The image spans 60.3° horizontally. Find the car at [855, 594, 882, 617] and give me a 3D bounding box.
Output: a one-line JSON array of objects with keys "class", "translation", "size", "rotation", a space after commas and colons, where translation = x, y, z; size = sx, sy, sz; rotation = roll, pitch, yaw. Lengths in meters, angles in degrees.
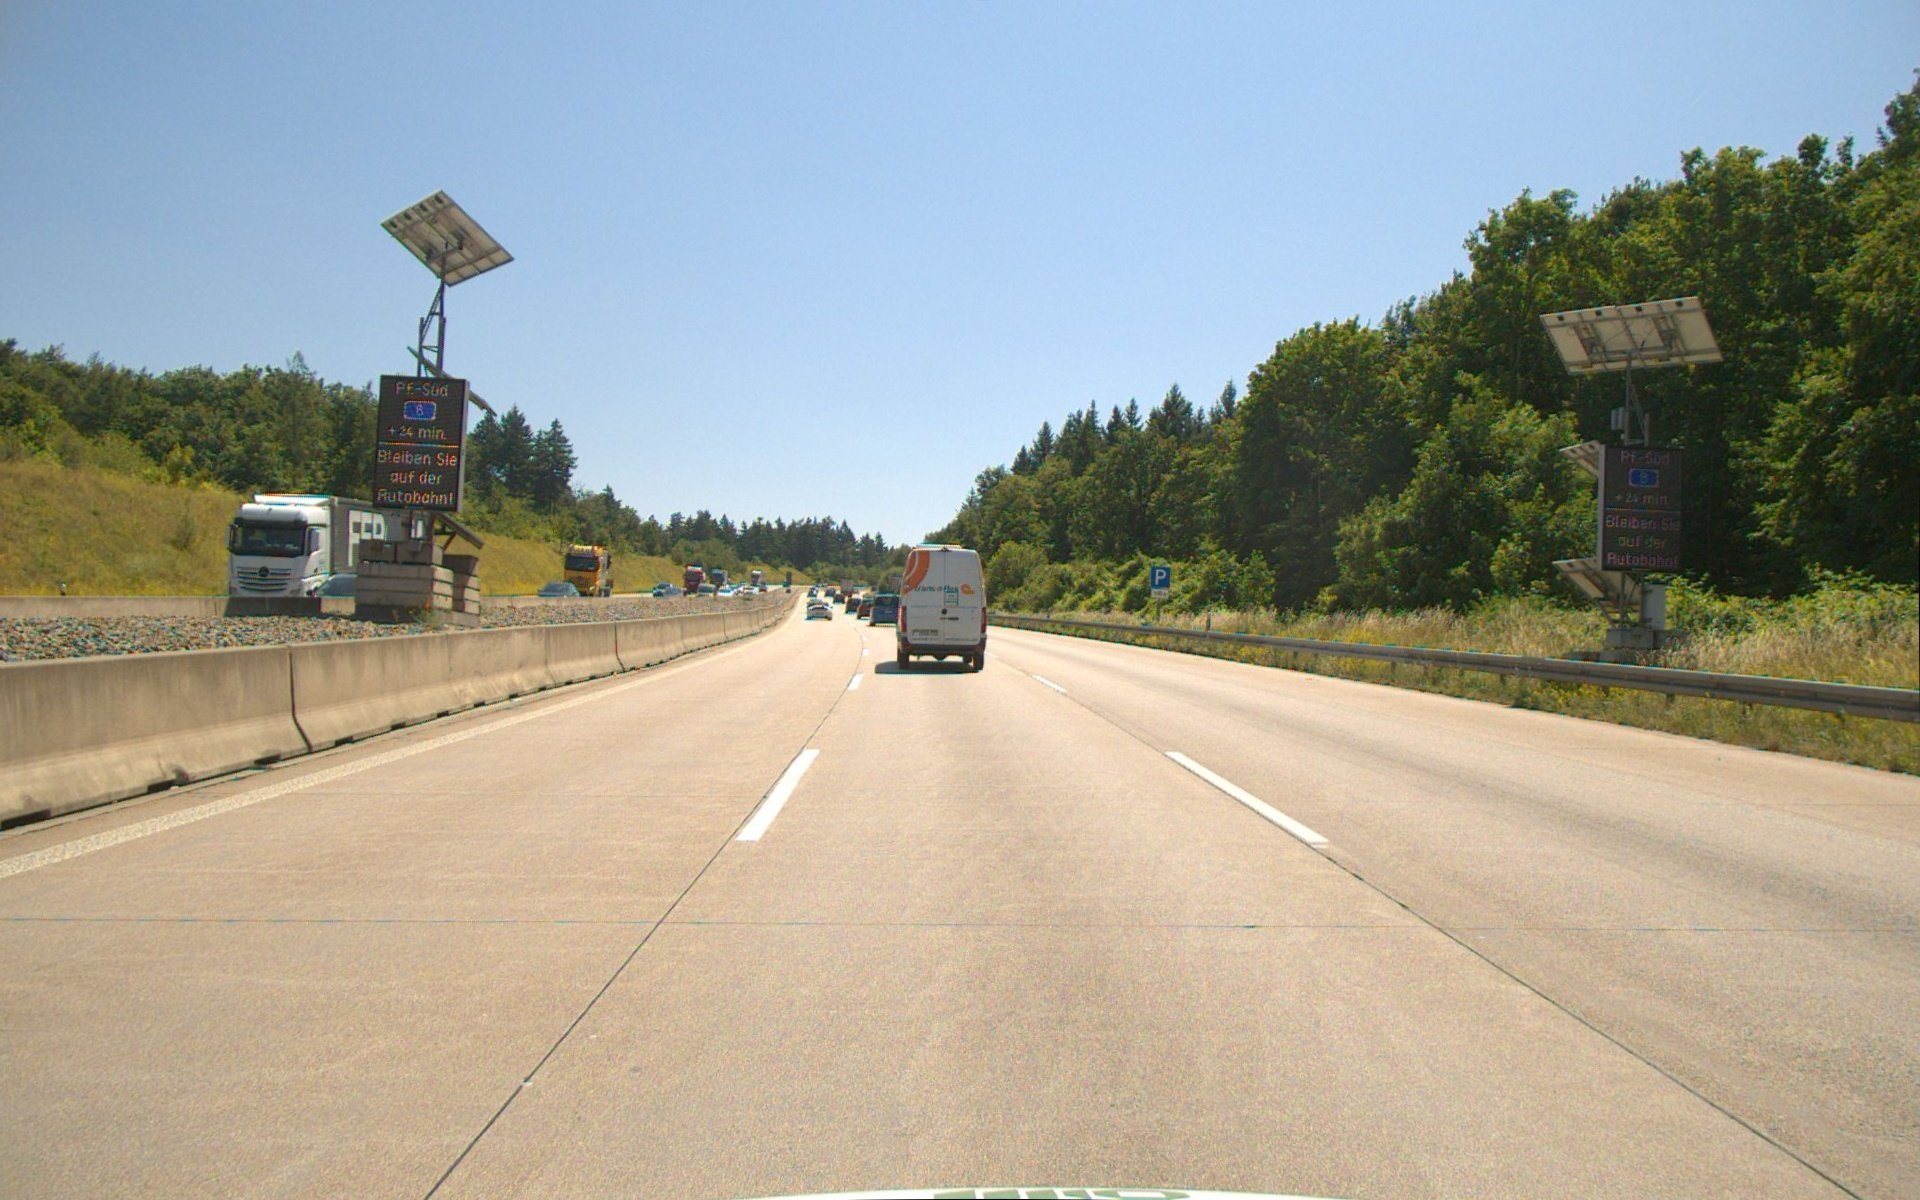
[{"class": "car", "translation": [-7.346, 0.443, 133.464], "size": [1.953, 1.713, 3.999], "rotation": [3, 0, -1]}]

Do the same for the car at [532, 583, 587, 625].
[{"class": "car", "translation": [-19.964, 0.193, 82.599], "size": [1.954, 2.049, 3.998], "rotation": [1, 0, -3]}]

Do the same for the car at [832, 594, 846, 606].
[{"class": "car", "translation": [-18.402, 0.022, 251.828], "size": [1.953, 1.713, 3.999], "rotation": [3, 0, -1]}]

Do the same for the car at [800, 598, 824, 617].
[{"class": "car", "translation": [-14.433, 0.688, 161.143], "size": [1.953, 1.713, 3.999], "rotation": [3, 0, -1]}]

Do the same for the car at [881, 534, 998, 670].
[{"class": "car", "translation": [-0.562, 0.007, 38.328], "size": [2.183, 2.894, 5.447], "rotation": [1, 1, -6]}]

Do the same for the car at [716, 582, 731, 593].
[{"class": "car", "translation": [-36.181, -1.948, 252.842], "size": [1.955, 1.610, 4.175], "rotation": [3, 0, -5]}]

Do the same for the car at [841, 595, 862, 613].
[{"class": "car", "translation": [-11.295, 0.412, 172.330], "size": [1.953, 1.713, 3.999], "rotation": [3, 0, -1]}]

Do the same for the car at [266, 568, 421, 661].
[{"class": "car", "translation": [-13.442, 0.301, 36.304], "size": [1.953, 1.915, 3.999], "rotation": [1, 0, -1]}]

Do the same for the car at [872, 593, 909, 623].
[{"class": "car", "translation": [-4.255, 0.489, 100.521], "size": [1.955, 1.713, 3.995], "rotation": [3, 0, -6]}]

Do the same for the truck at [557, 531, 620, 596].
[{"class": "truck", "translation": [-27.549, -2.602, 123.216], "size": [2.856, 4.592, 11.248], "rotation": [1, 0, -4]}]

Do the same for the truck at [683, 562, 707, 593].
[{"class": "truck", "translation": [-38.707, -3.302, 241.483], "size": [2.876, 4.241, 5.975], "rotation": [3, 0, -5]}]

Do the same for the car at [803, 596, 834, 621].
[{"class": "car", "translation": [-10.352, 0.598, 121.224], "size": [1.953, 1.713, 3.999], "rotation": [3, 0, -1]}]

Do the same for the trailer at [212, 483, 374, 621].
[{"class": "trailer", "translation": [-22.385, -1.519, 55.926], "size": [2.876, 4.241, 6.885], "rotation": [3, 0, -4]}]

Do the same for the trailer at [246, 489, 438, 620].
[{"class": "trailer", "translation": [-22.807, -1.513, 62.064], "size": [2.876, 4.241, 13.179], "rotation": [3, 0, -4]}]

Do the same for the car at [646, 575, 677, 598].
[{"class": "car", "translation": [-27.830, -1.259, 154.308], "size": [2.238, 2.049, 4.800], "rotation": [1, 0, -3]}]
